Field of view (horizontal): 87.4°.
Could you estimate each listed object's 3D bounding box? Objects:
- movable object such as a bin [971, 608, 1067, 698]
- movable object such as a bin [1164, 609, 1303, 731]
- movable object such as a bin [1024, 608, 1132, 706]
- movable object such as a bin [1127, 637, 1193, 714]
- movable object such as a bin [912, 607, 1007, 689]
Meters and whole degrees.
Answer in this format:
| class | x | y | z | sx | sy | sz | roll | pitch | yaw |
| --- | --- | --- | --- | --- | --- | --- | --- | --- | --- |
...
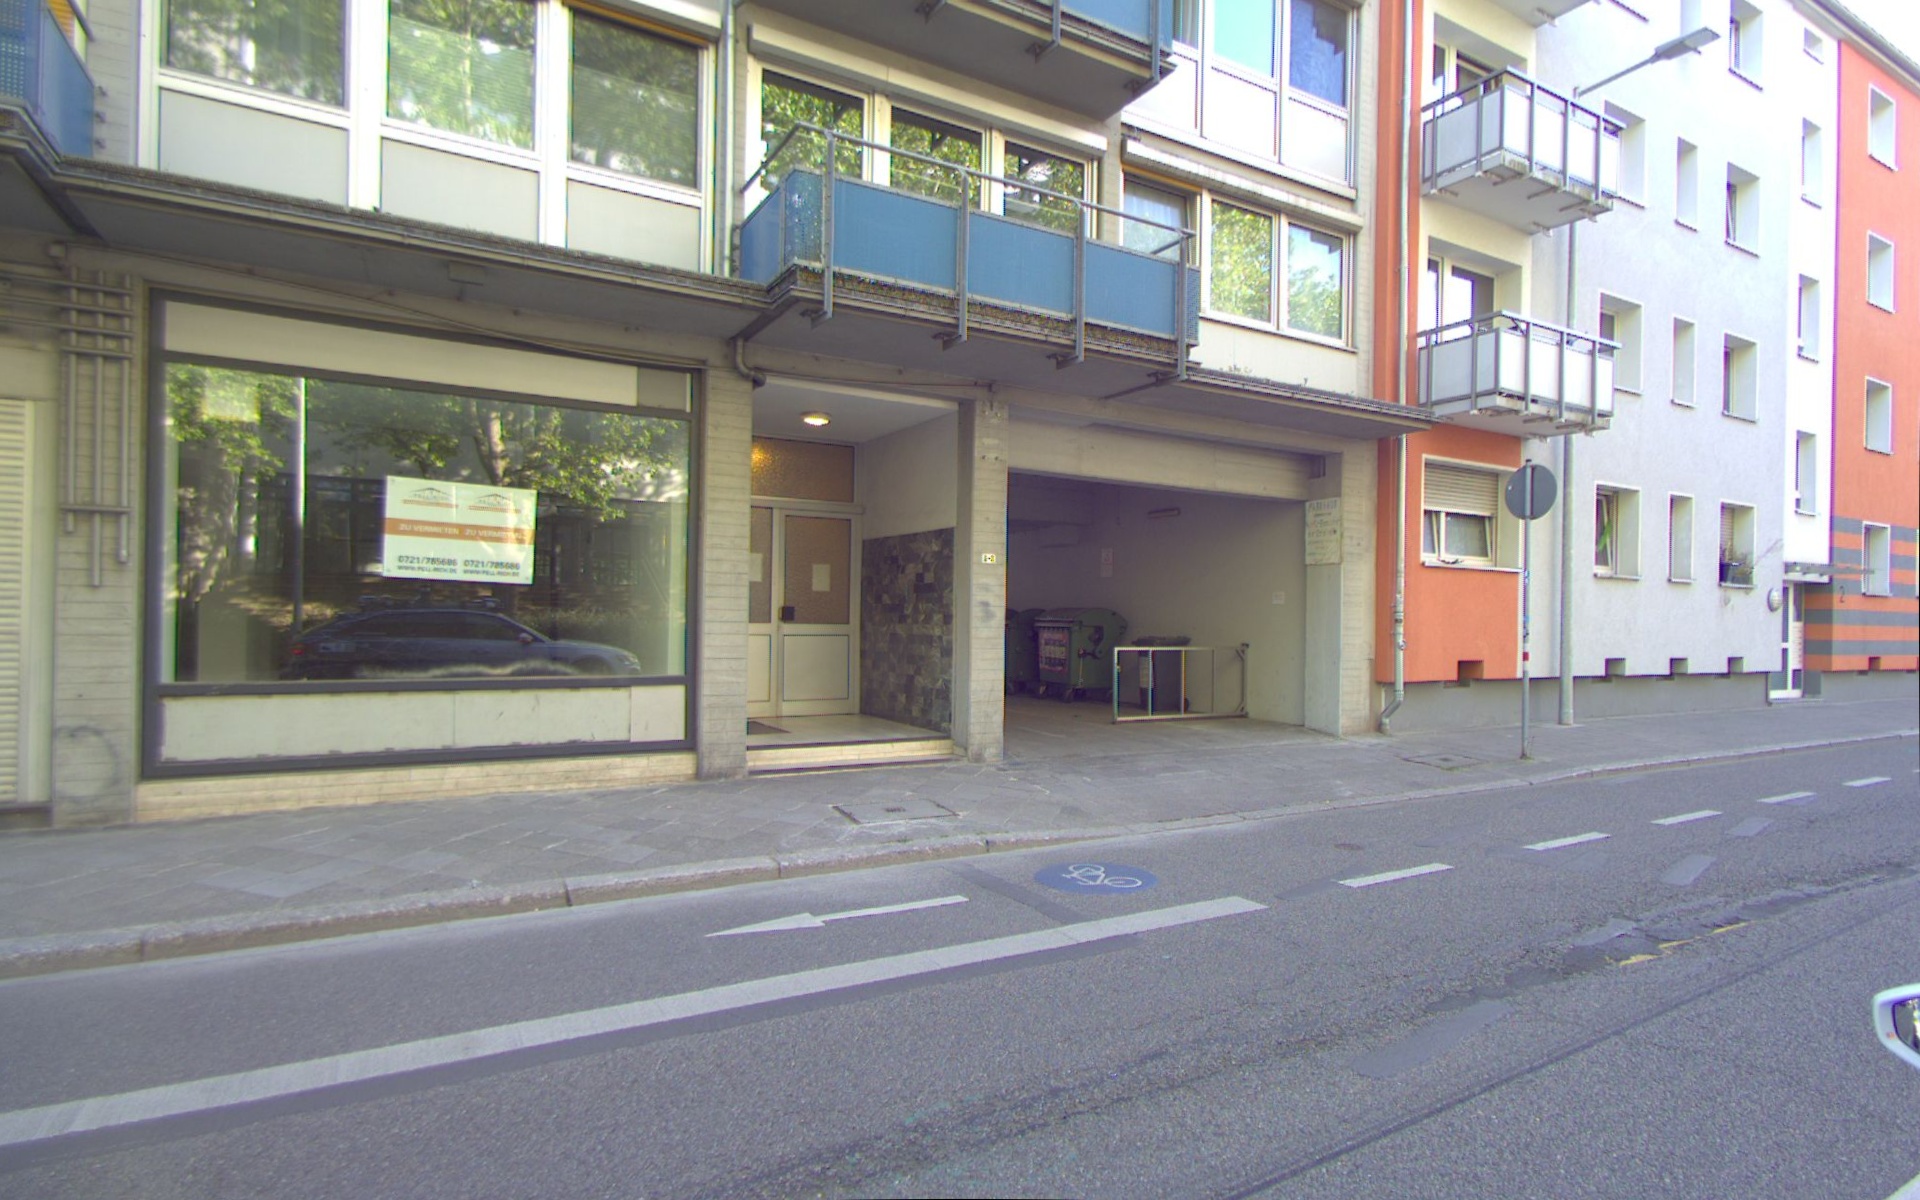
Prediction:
| class | x | y | z | sx | sy | sz | roll | pitch | yaw |
| --- | --- | --- | --- | --- | --- | --- | --- | --- | --- |
| movable object such as a bin | 0.993 | 0.876 | 17.173 | 1.119 | 1.449 | 1.322 | 1 | 0 | -28 |
| movable object such as a bin | 3.486 | 0.857 | 12.902 | 1.119 | 1.449 | 1.322 | 1 | 0 | -28 |
| movable object such as a bin | 1.845 | 0.870 | 15.850 | 1.128 | 1.449 | 1.342 | 1 | 0 | -28 |
| movable object such as a bin | 2.895 | 1.082 | 14.532 | 0.695 | 1.055 | 0.593 | 2 | 0 | -30 |
| movable object such as a bin | -0.034 | 0.874 | 18.876 | 1.119 | 1.449 | 1.666 | 1 | -1 | -28 |
